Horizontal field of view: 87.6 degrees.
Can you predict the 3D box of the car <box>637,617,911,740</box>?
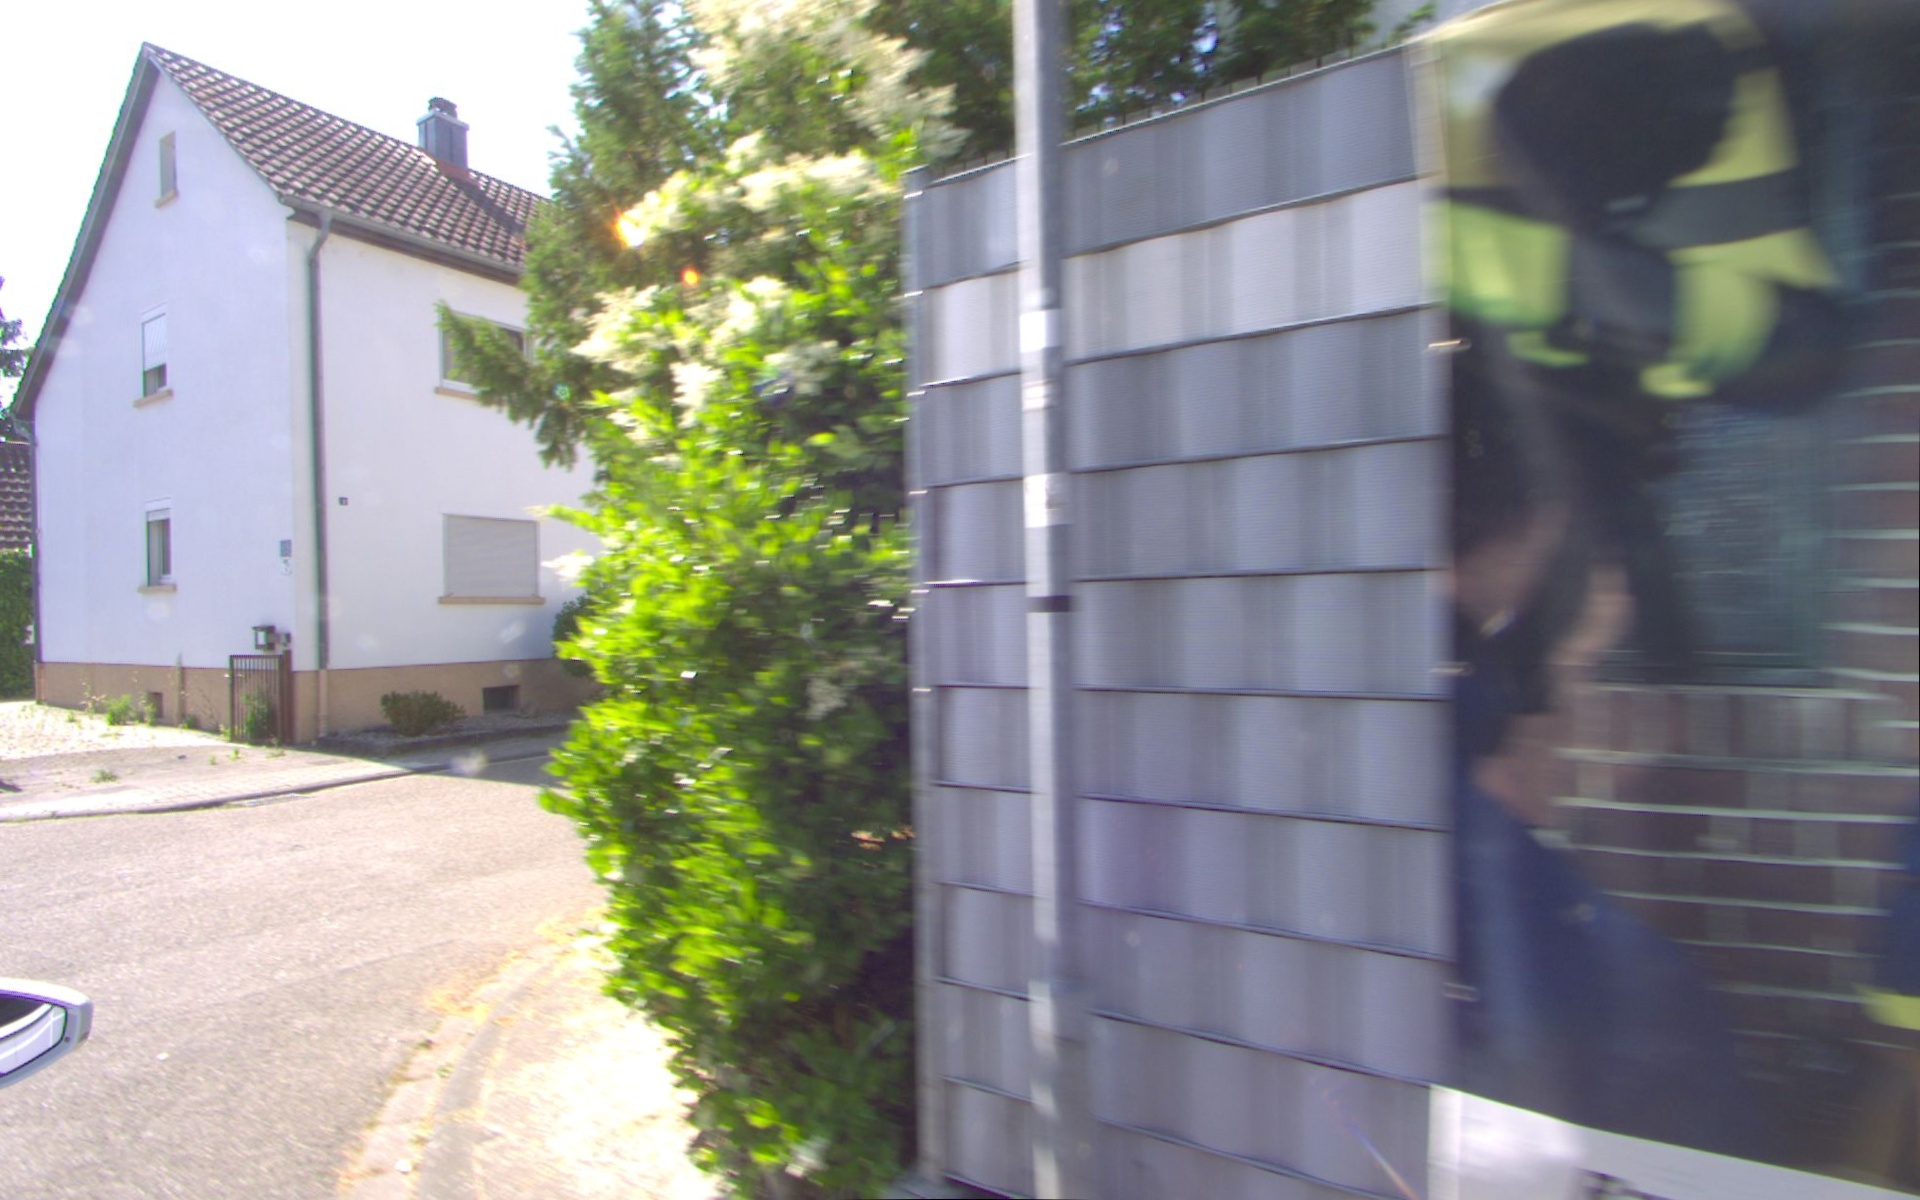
[{"bbox_3d":[-2.585,1.038,14.803,1.771,1.550,3.978,-1,-1,32],"label":"car"}]
